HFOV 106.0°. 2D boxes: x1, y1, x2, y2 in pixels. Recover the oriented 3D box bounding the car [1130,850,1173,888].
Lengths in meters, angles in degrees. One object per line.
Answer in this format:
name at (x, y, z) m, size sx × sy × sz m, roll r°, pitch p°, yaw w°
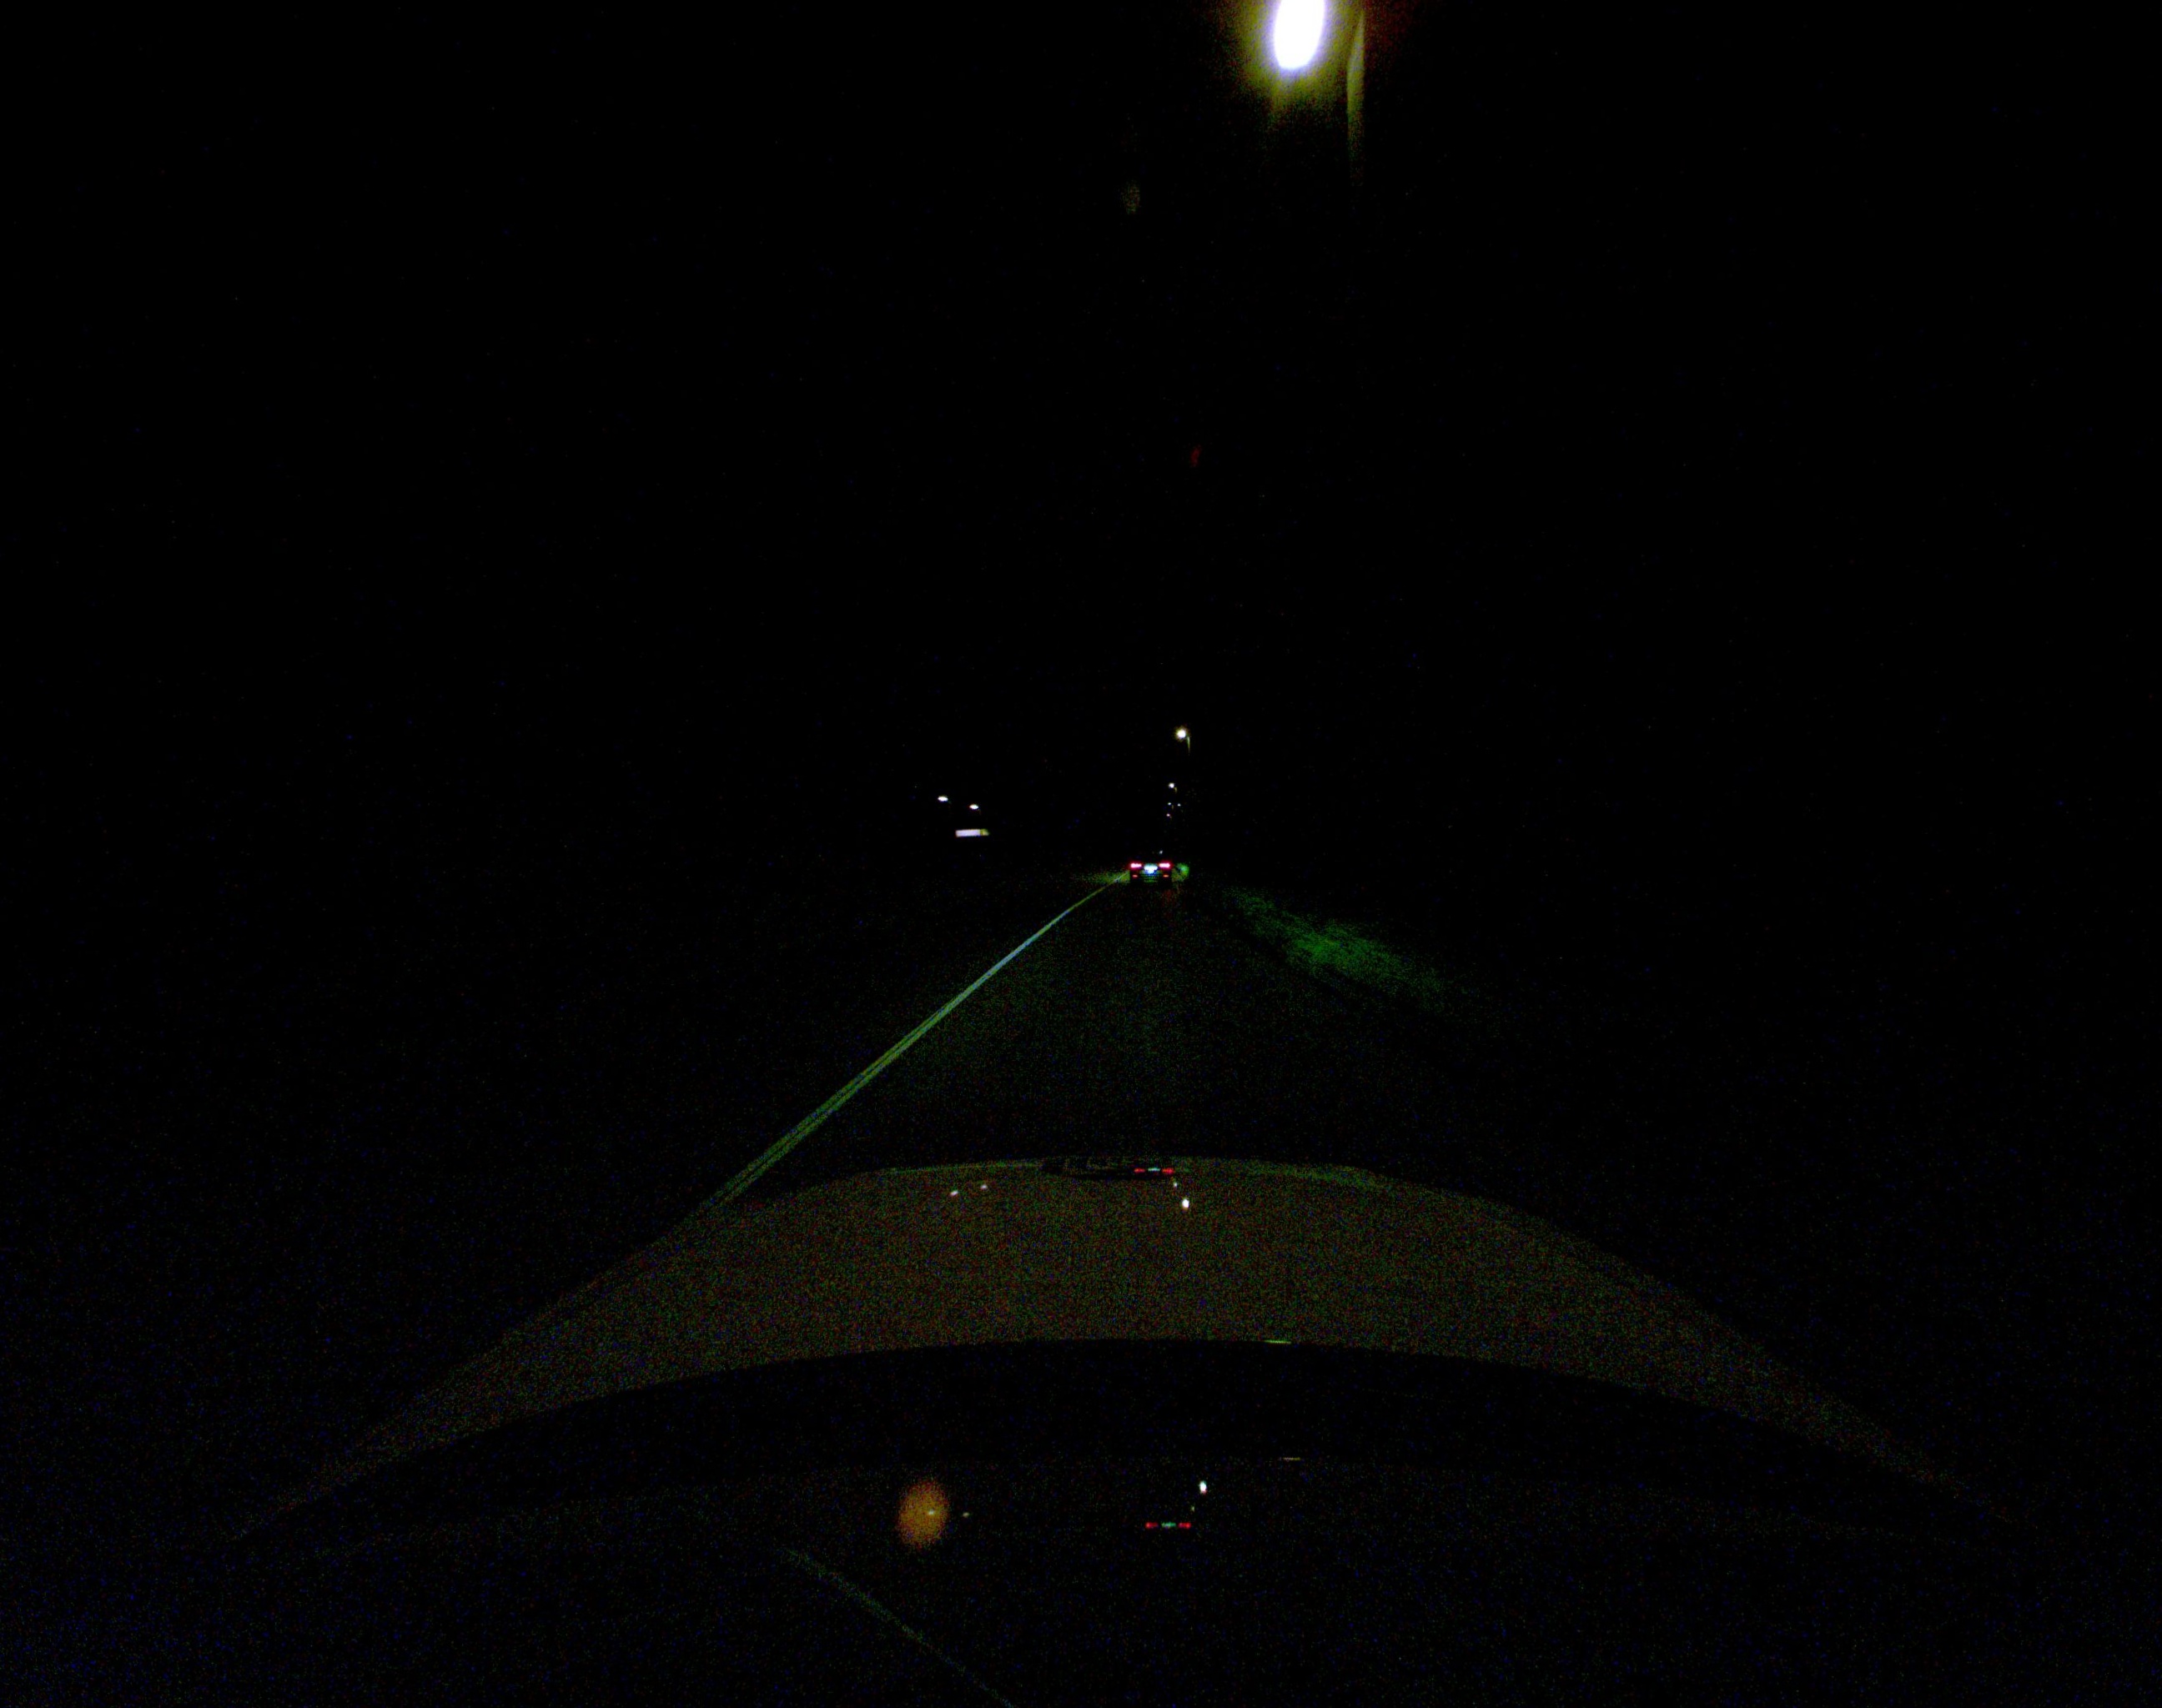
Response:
car at (3.142, 0.633, 36.097) m, size 1.806 × 1.573 × 3.949 m, roll -1°, pitch 0°, yaw 5°
